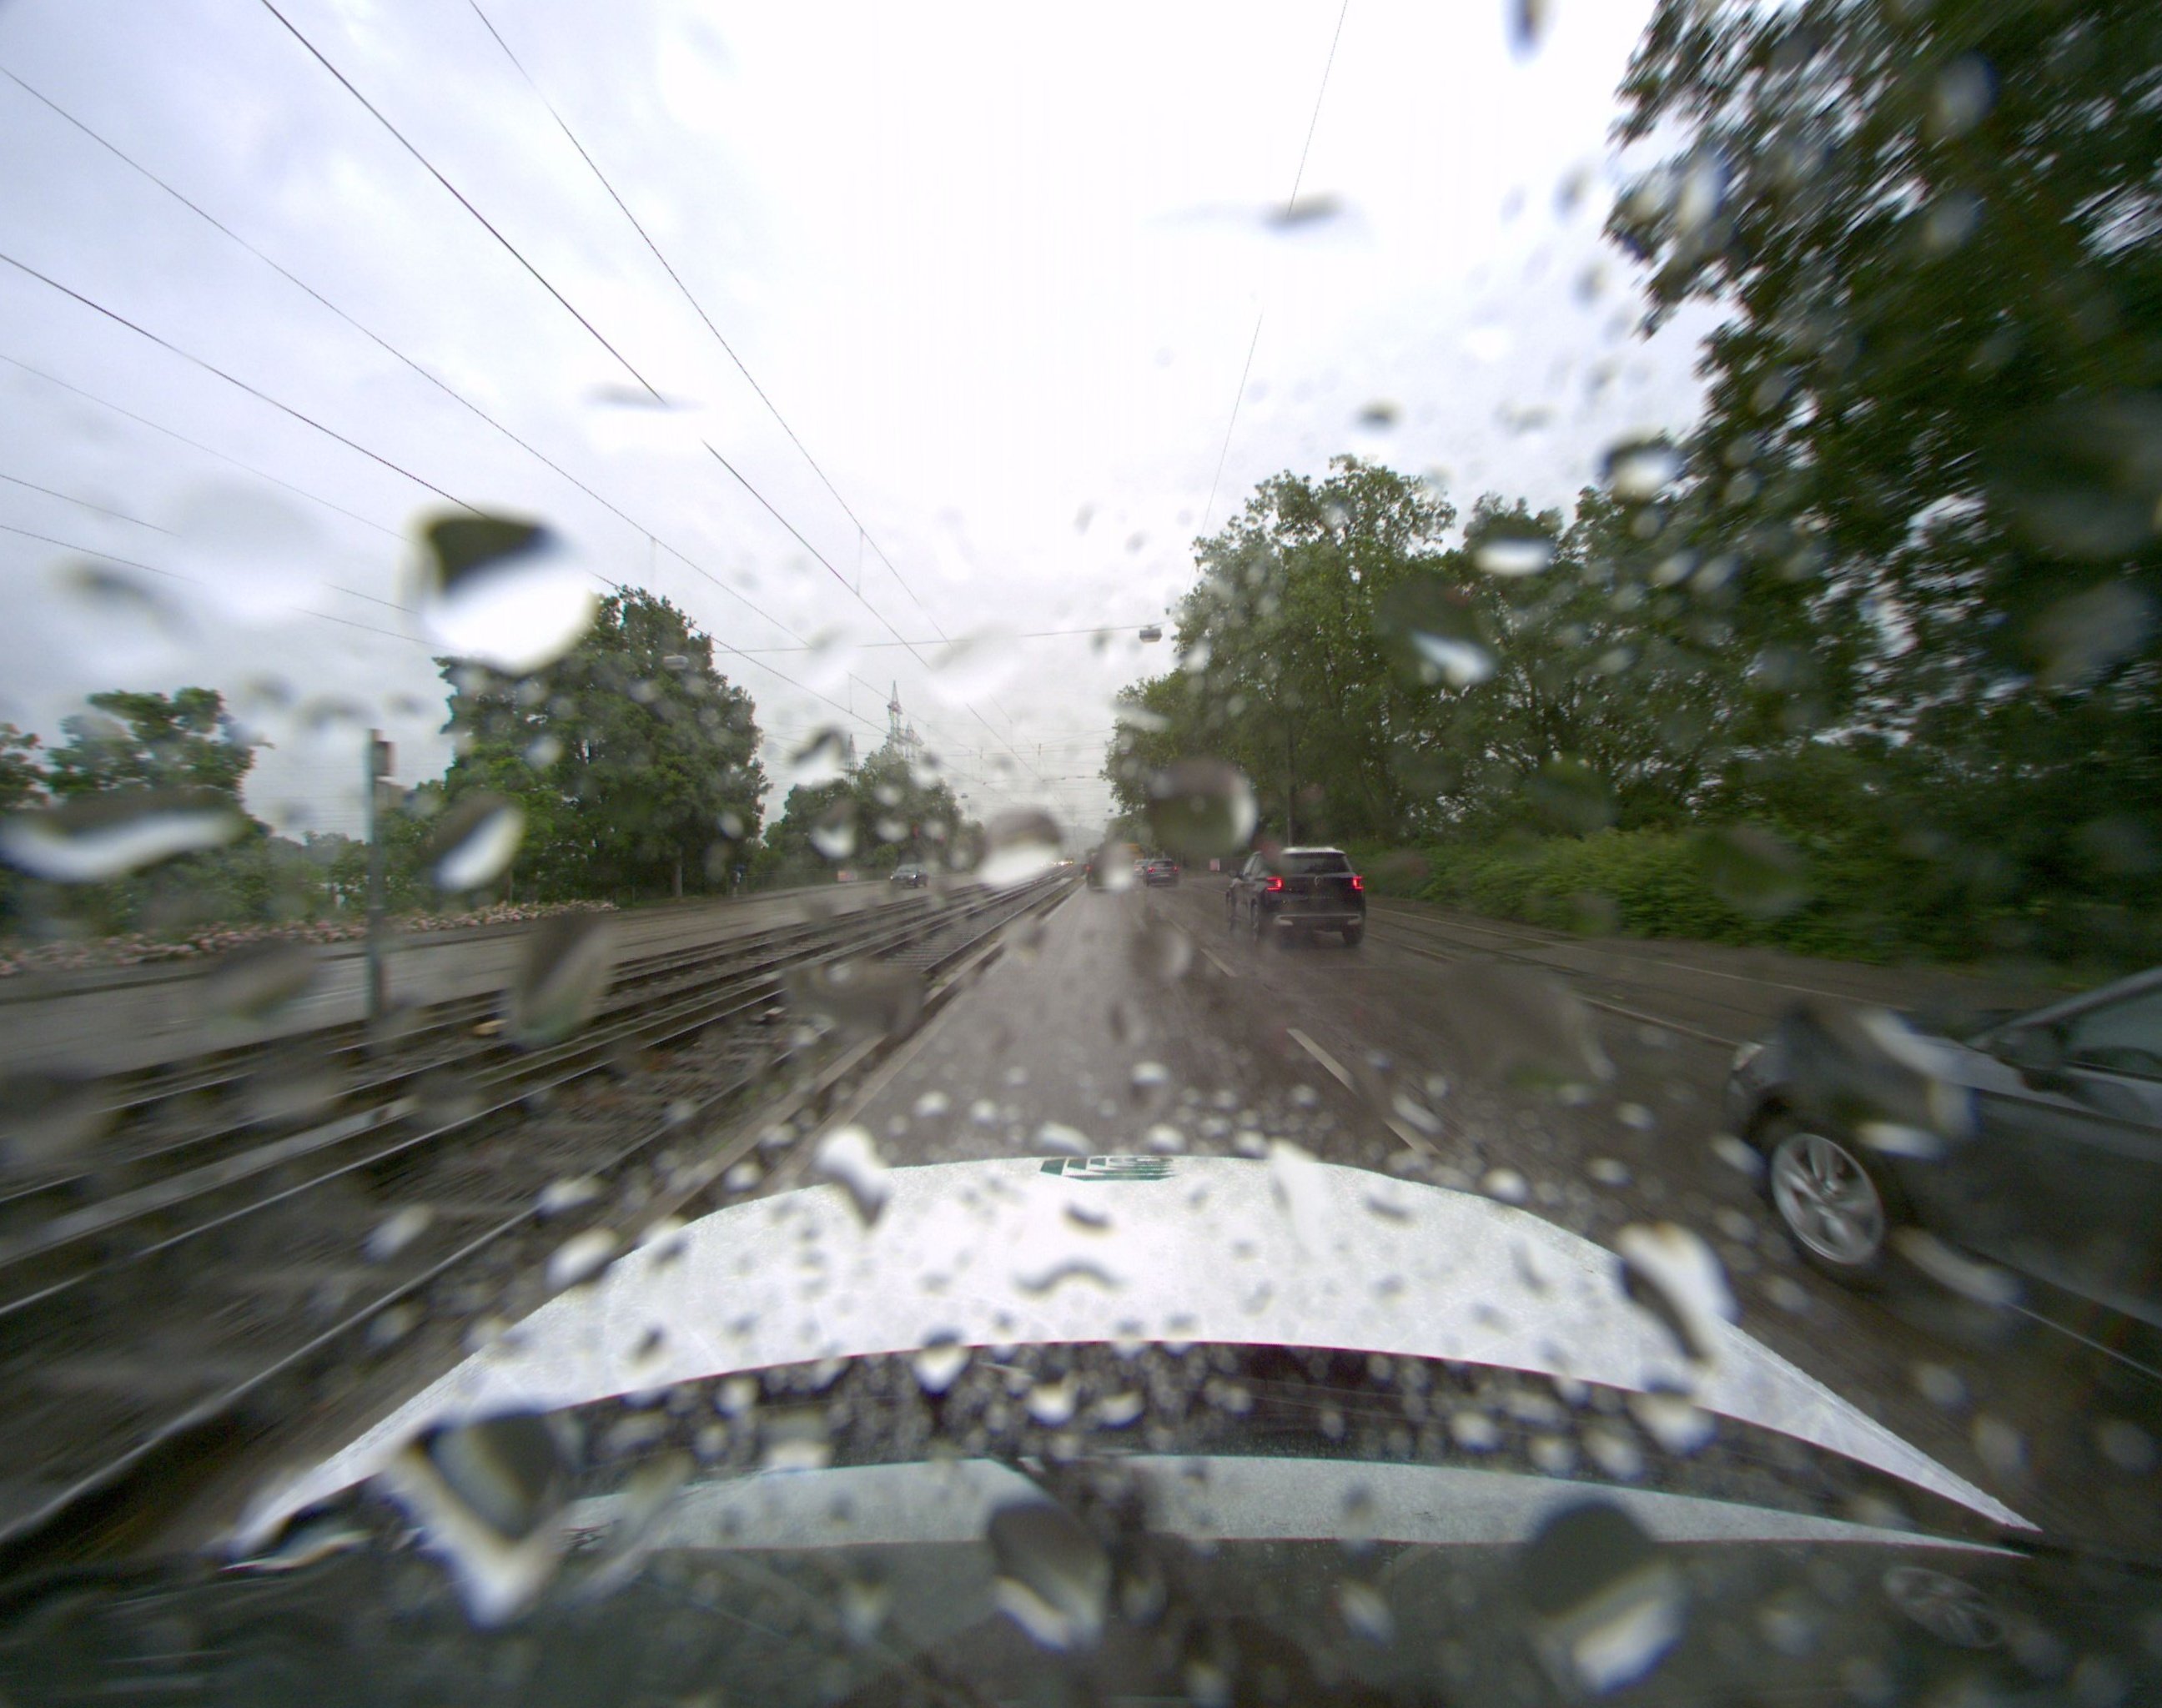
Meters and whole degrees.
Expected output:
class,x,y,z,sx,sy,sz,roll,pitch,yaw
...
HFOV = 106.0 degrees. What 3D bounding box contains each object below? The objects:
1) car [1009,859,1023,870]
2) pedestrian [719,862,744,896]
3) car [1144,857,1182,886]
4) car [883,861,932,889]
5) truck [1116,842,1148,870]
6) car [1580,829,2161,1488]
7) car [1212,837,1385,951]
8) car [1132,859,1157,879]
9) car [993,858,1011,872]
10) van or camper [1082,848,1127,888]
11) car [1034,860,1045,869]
class,x,y,z,sx,sy,sz,roll,pitch,yaw
car,-11.721,1.915,146.814,1.985,1.816,4.003,-2,0,3
pedestrian,-19.213,1.369,44.786,0.848,1.759,1.121,-2,0,1
car,4.345,0.880,43.577,1.811,1.414,3.780,0,1,2
car,-11.112,1.335,52.435,1.985,1.618,4.257,-2,0,3
truck,5.318,0.157,85.424,3.102,2.773,6.331,-1,0,1
car,3.482,0.696,2.106,1.961,1.528,3.990,0,1,0
car,3.701,0.578,14.770,1.893,1.716,4.725,0,1,0
car,4.876,1.121,63.208,1.811,1.414,3.780,0,1,2
car,-10.954,1.505,113.106,1.986,1.816,4.660,-2,0,1
van or camper,1.067,0.638,39.053,1.988,1.784,3.999,0,1,-1
car,-7.604,1.945,149.834,1.650,1.486,4.016,-2,0,3
